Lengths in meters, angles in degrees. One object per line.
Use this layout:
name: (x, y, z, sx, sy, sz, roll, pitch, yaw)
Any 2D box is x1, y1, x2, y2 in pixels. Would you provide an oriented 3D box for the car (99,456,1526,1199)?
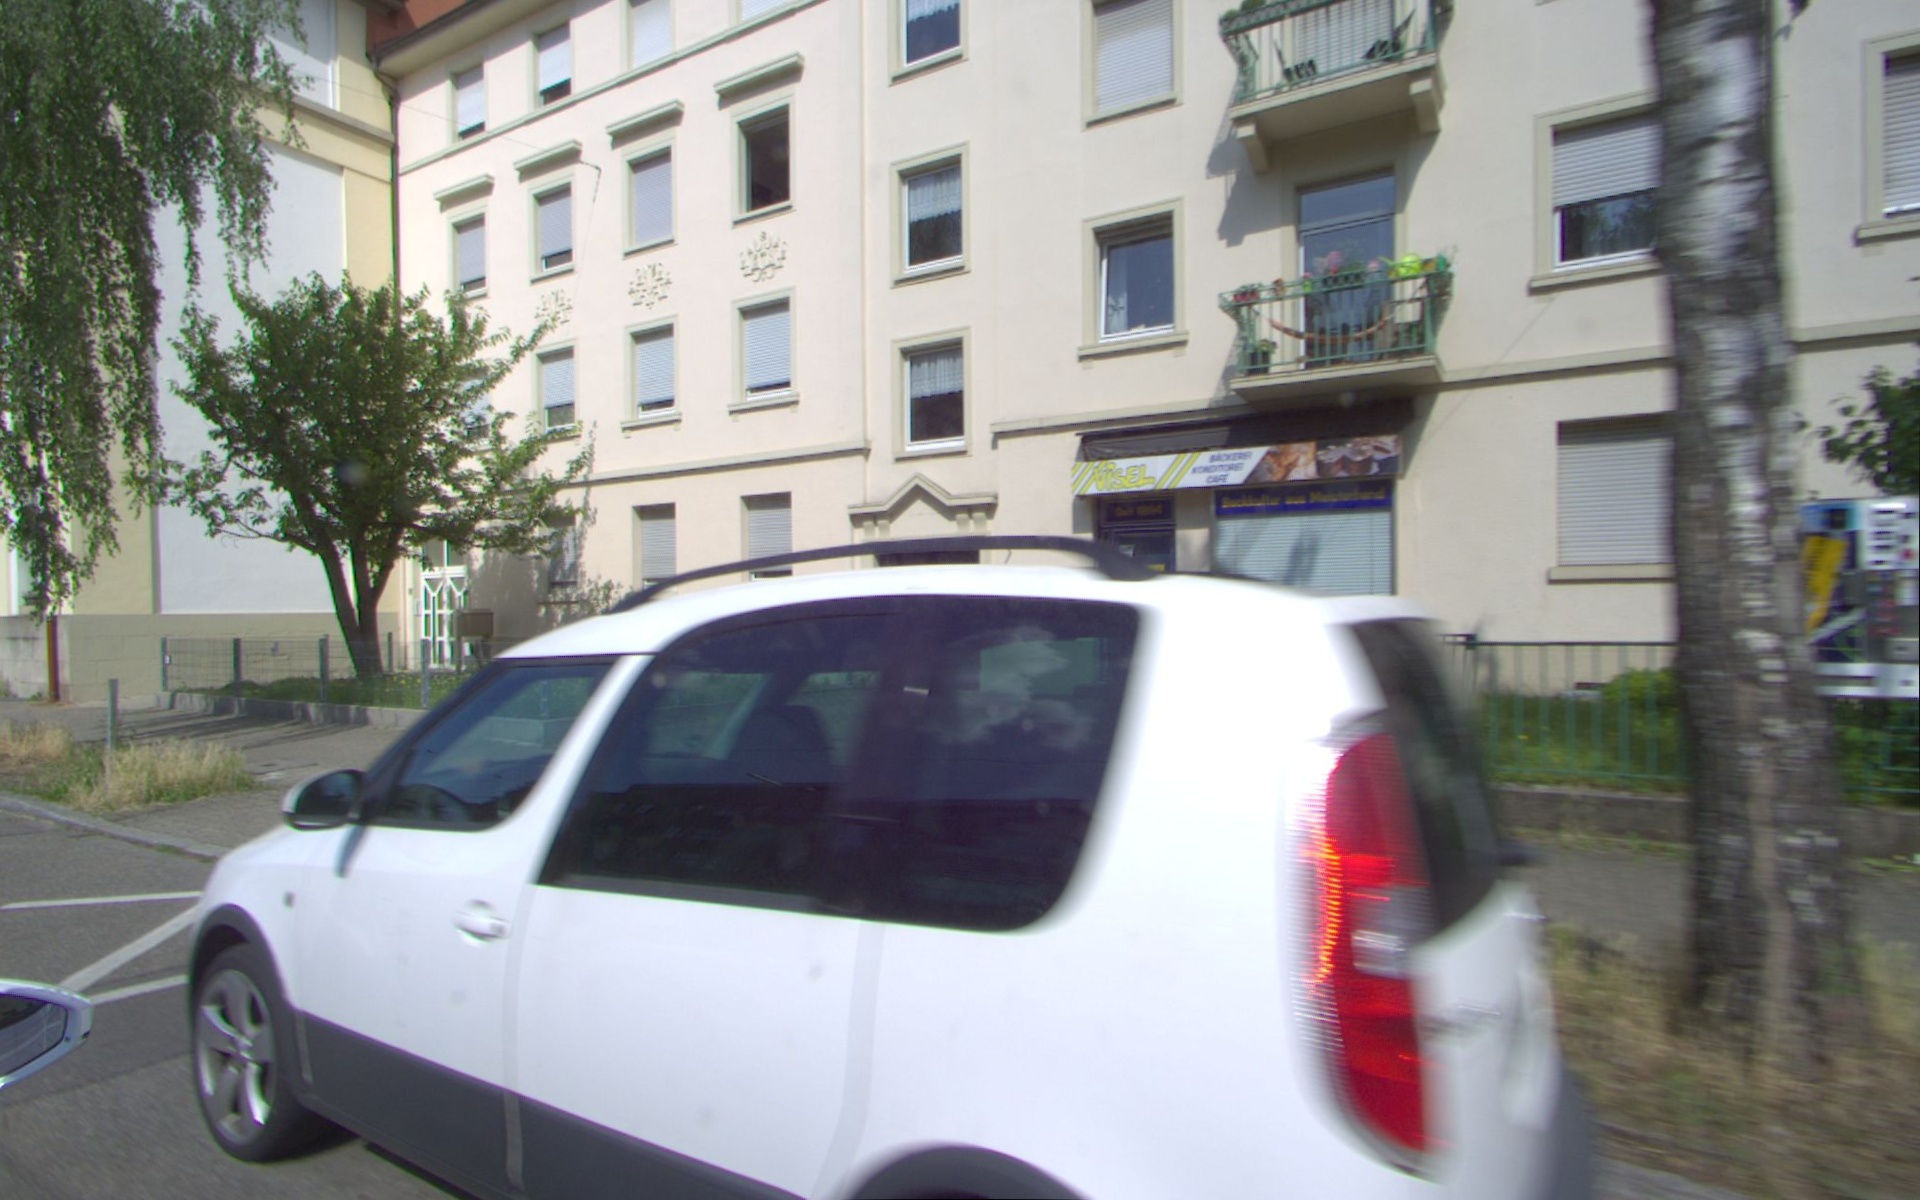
car: (-0.693, 0.737, 2.887, 3.945, 1.650, 1.718, -1, -3, 34)
